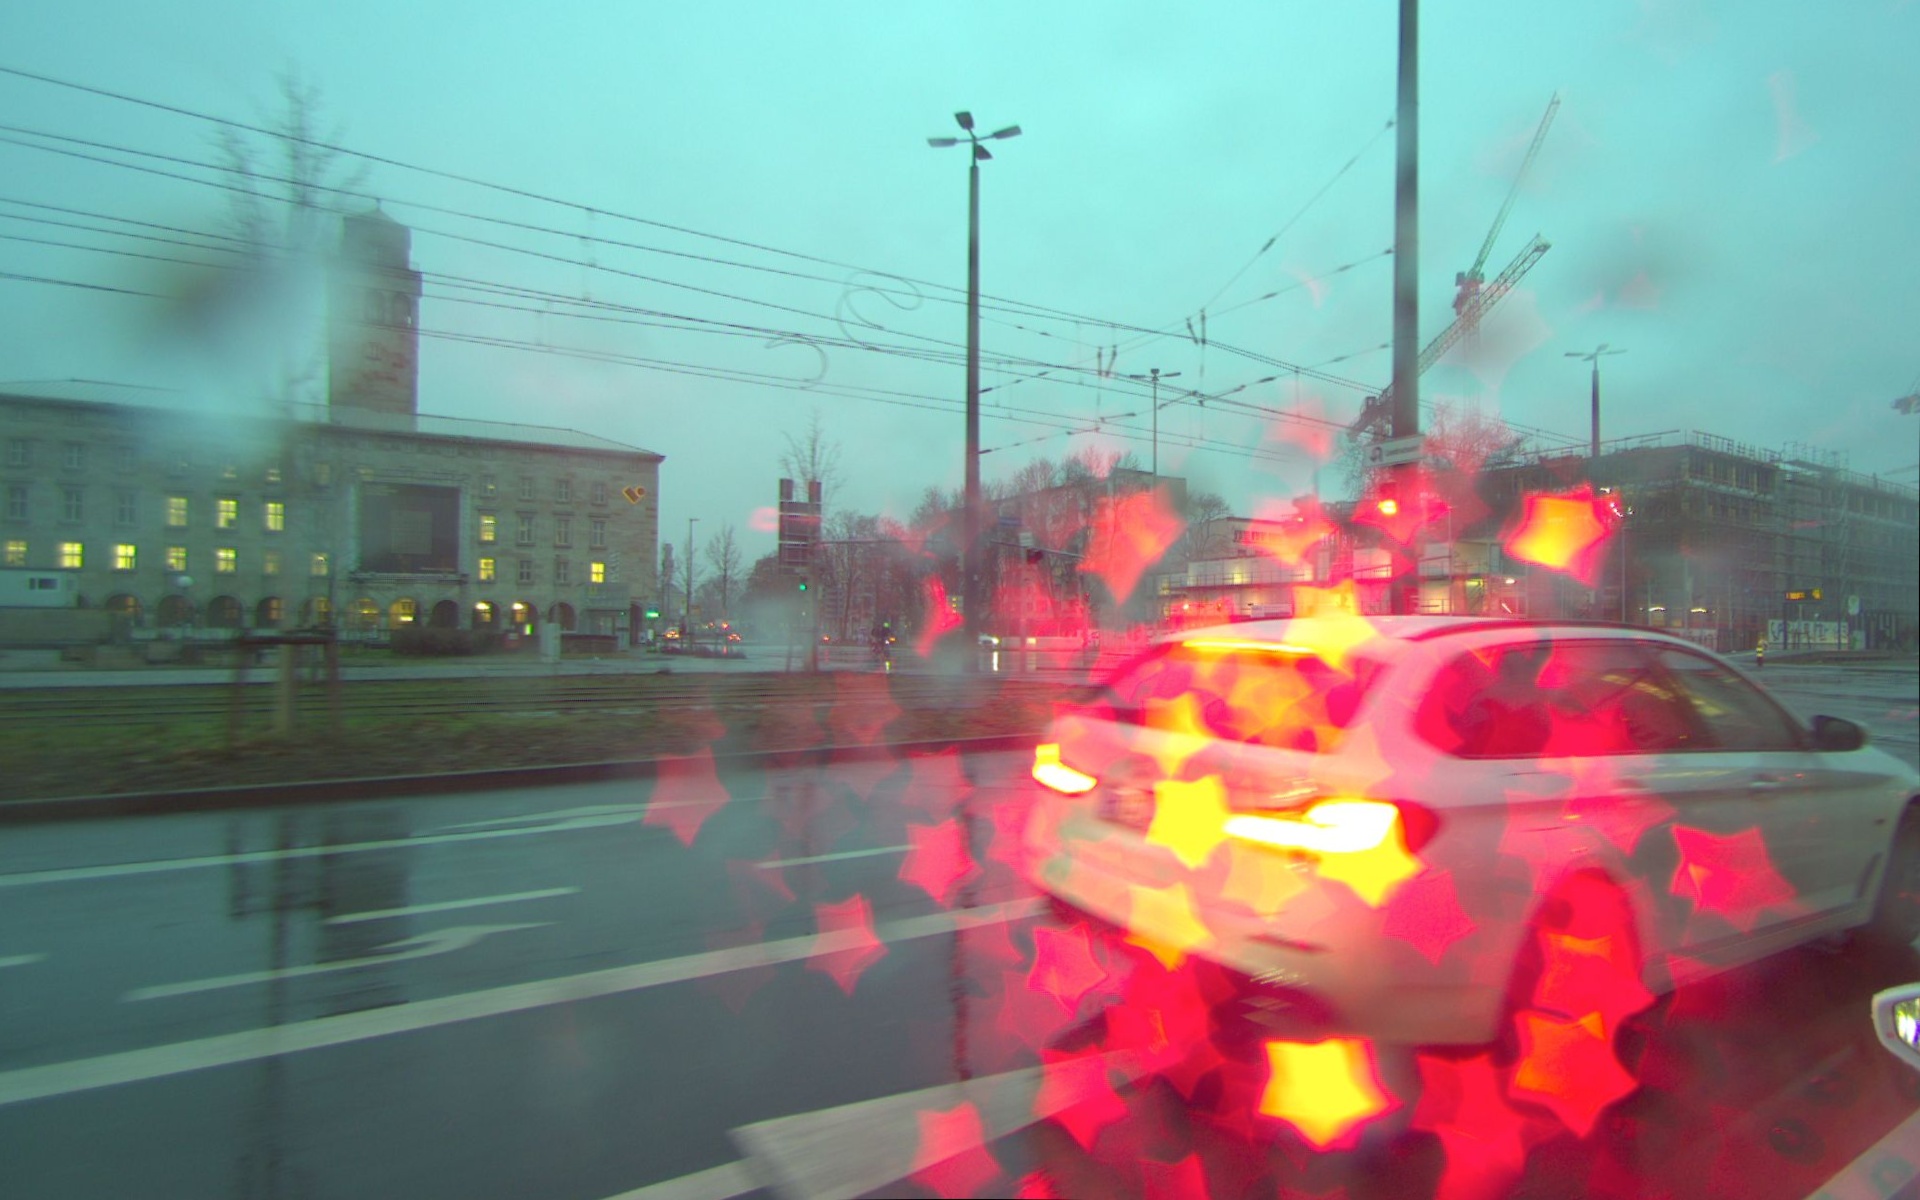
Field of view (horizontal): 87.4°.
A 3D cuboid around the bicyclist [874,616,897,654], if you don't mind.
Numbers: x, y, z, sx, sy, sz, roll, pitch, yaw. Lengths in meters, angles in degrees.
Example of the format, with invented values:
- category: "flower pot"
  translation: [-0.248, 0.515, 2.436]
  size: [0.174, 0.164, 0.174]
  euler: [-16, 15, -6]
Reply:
- category: "bicyclist"
  translation: [-3.676, 1.718, 49.368]
  size: [0.714, 1.863, 0.986]
  euler: [2, -3, -38]

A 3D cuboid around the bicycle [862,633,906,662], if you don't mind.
- category: "bicycle"
  translation: [-3.749, 2.316, 49.433]
  size: [0.714, 1.380, 2.809]
  euler: [2, -3, -38]

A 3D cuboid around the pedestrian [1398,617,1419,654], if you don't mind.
- category: "pedestrian"
  translation: [25.378, 2.023, 56.827]
  size: [0.741, 2.039, 0.786]
  euler: [5, -4, -39]

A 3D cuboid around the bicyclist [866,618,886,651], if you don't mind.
- category: "bicyclist"
  translation: [-4.391, 1.795, 52.363]
  size: [0.612, 1.719, 1.026]
  euler: [2, -2, -36]

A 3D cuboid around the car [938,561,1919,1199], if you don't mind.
- category: "car"
  translation: [2.472, 0.754, 4.514]
  size: [4.868, 1.540, 1.900]
  euler: [2, -2, -31]

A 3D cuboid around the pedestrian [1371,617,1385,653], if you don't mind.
- category: "pedestrian"
  translation: [23.814, 2.002, 57.214]
  size: [0.635, 2.039, 0.503]
  euler: [5, -5, -40]

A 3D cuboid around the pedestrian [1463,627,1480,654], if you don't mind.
- category: "pedestrian"
  translation: [29.473, 2.328, 57.899]
  size: [0.791, 1.549, 0.638]
  euler: [2, -2, -44]

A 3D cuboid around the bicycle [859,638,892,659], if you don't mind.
- category: "bicycle"
  translation: [-4.419, 2.501, 52.367]
  size: [0.612, 1.046, 2.357]
  euler: [2, -2, -35]

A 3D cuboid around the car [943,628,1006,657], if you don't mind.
- category: "car"
  translation: [0.847, 2.546, 60.860]
  size: [1.978, 1.706, 3.965]
  euler: [1, -2, -32]

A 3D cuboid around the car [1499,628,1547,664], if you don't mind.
- category: "car"
  translation: [33.856, 2.733, 60.341]
  size: [1.736, 2.040, 3.979]
  euler: [-1, -2, 41]
